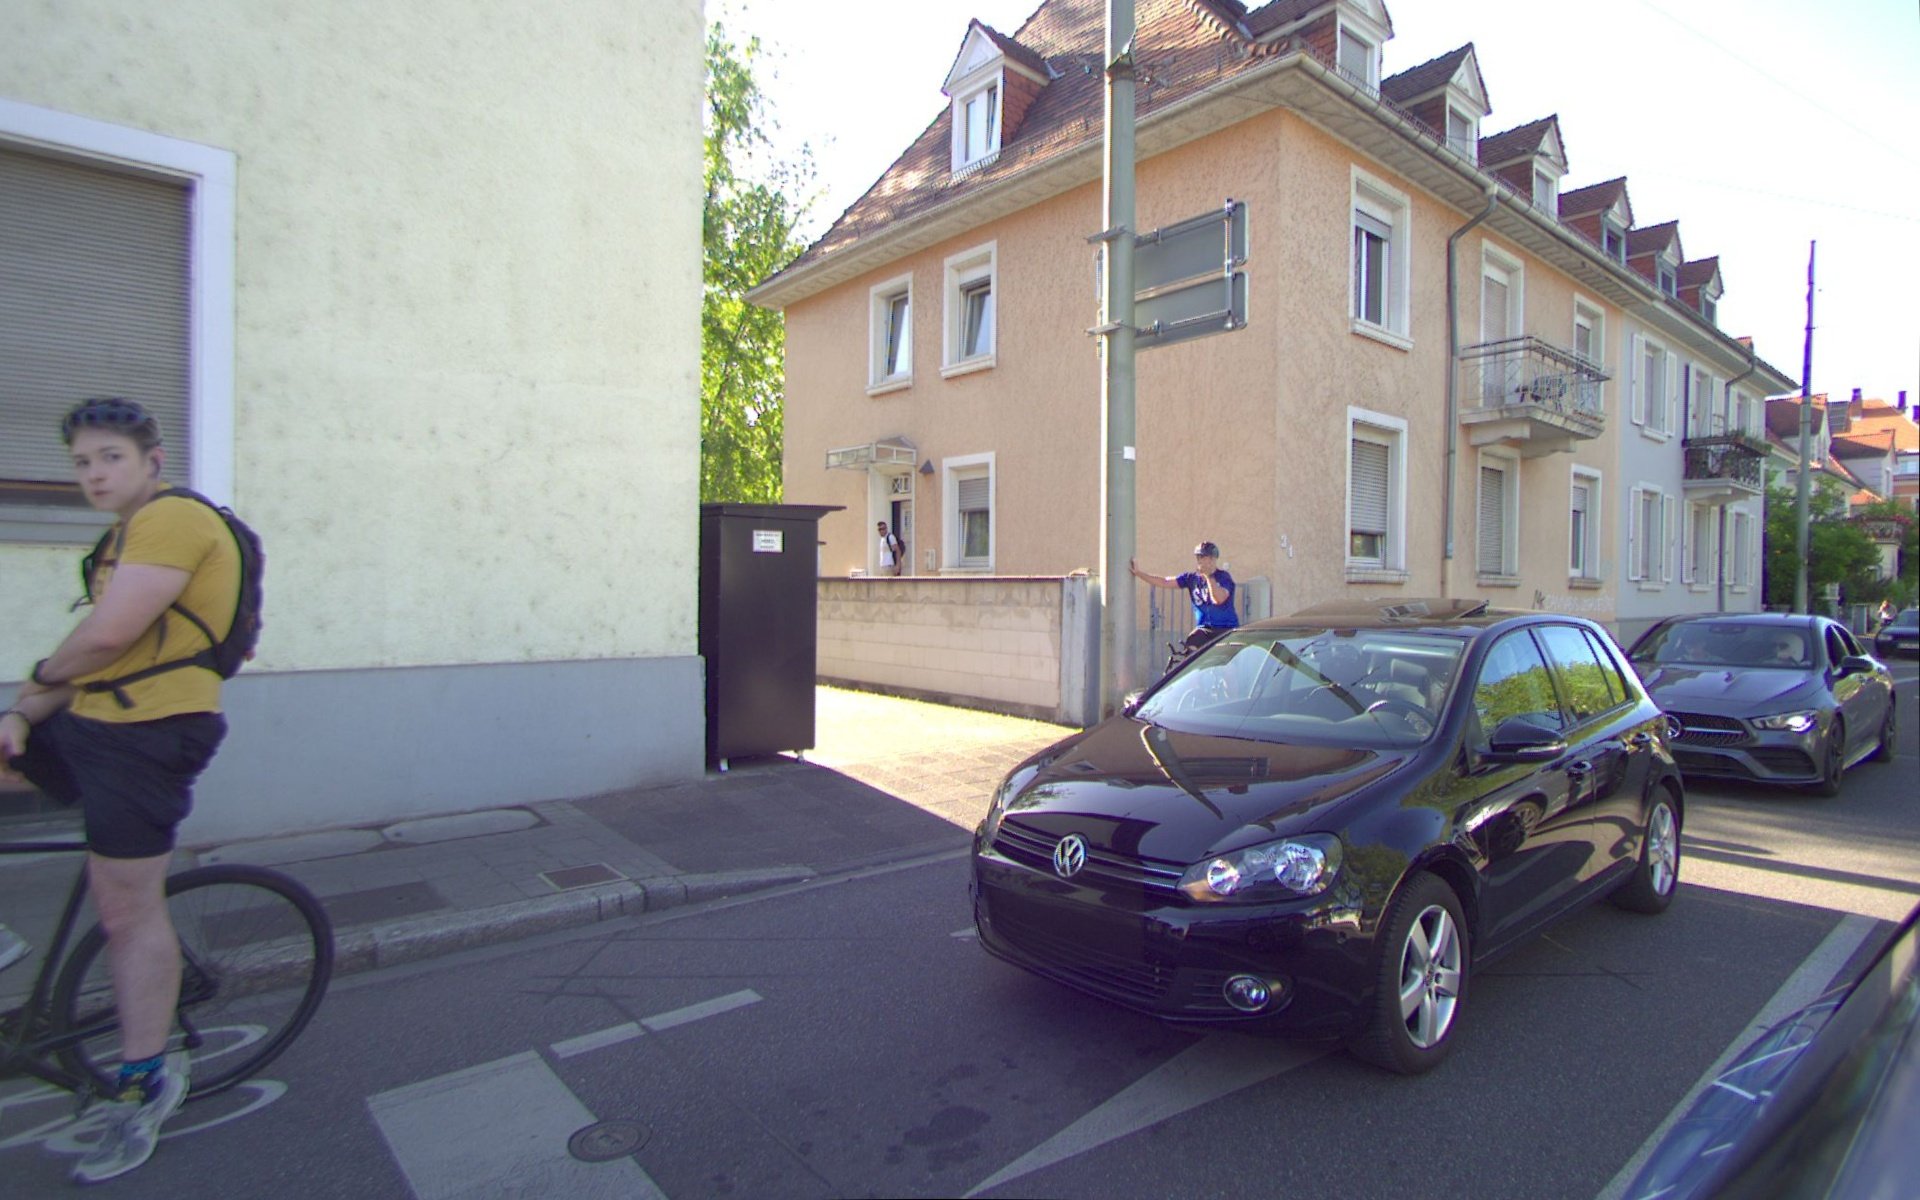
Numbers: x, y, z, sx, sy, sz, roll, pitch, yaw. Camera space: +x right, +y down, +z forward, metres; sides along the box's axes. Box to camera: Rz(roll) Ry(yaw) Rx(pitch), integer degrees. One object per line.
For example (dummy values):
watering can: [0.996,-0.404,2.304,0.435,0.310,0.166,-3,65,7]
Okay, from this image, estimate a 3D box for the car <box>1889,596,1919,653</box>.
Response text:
car: [26.758,0.626,27.433,4.258,1.448,1.824,-1,0,-40]

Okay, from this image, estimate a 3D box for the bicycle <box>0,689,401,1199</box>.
bicycle: [-2.491,0.872,2.564,0.777,1.120,1.720,0,0,36]

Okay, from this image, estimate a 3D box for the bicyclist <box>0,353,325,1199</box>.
bicyclist: [-2.320,0.433,2.749,0.777,1.991,0.768,0,0,36]

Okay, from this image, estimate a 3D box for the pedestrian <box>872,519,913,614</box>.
pedestrian: [-1.226,-0.613,18.216,0.598,1.624,0.763,3,5,-8]

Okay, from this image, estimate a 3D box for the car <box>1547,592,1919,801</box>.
car: [7.167,0.692,9.177,4.410,1.449,1.824,1,0,-40]

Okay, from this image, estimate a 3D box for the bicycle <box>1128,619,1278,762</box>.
bicycle: [2.207,0.761,9.080,0.554,1.088,1.601,6,4,42]

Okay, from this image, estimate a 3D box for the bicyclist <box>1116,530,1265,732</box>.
bicyclist: [2.115,0.245,9.337,1.018,1.714,0.718,6,4,42]

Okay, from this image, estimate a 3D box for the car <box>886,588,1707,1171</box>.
car: [1.751,0.684,4.492,3.921,1.456,1.716,-1,0,-41]
